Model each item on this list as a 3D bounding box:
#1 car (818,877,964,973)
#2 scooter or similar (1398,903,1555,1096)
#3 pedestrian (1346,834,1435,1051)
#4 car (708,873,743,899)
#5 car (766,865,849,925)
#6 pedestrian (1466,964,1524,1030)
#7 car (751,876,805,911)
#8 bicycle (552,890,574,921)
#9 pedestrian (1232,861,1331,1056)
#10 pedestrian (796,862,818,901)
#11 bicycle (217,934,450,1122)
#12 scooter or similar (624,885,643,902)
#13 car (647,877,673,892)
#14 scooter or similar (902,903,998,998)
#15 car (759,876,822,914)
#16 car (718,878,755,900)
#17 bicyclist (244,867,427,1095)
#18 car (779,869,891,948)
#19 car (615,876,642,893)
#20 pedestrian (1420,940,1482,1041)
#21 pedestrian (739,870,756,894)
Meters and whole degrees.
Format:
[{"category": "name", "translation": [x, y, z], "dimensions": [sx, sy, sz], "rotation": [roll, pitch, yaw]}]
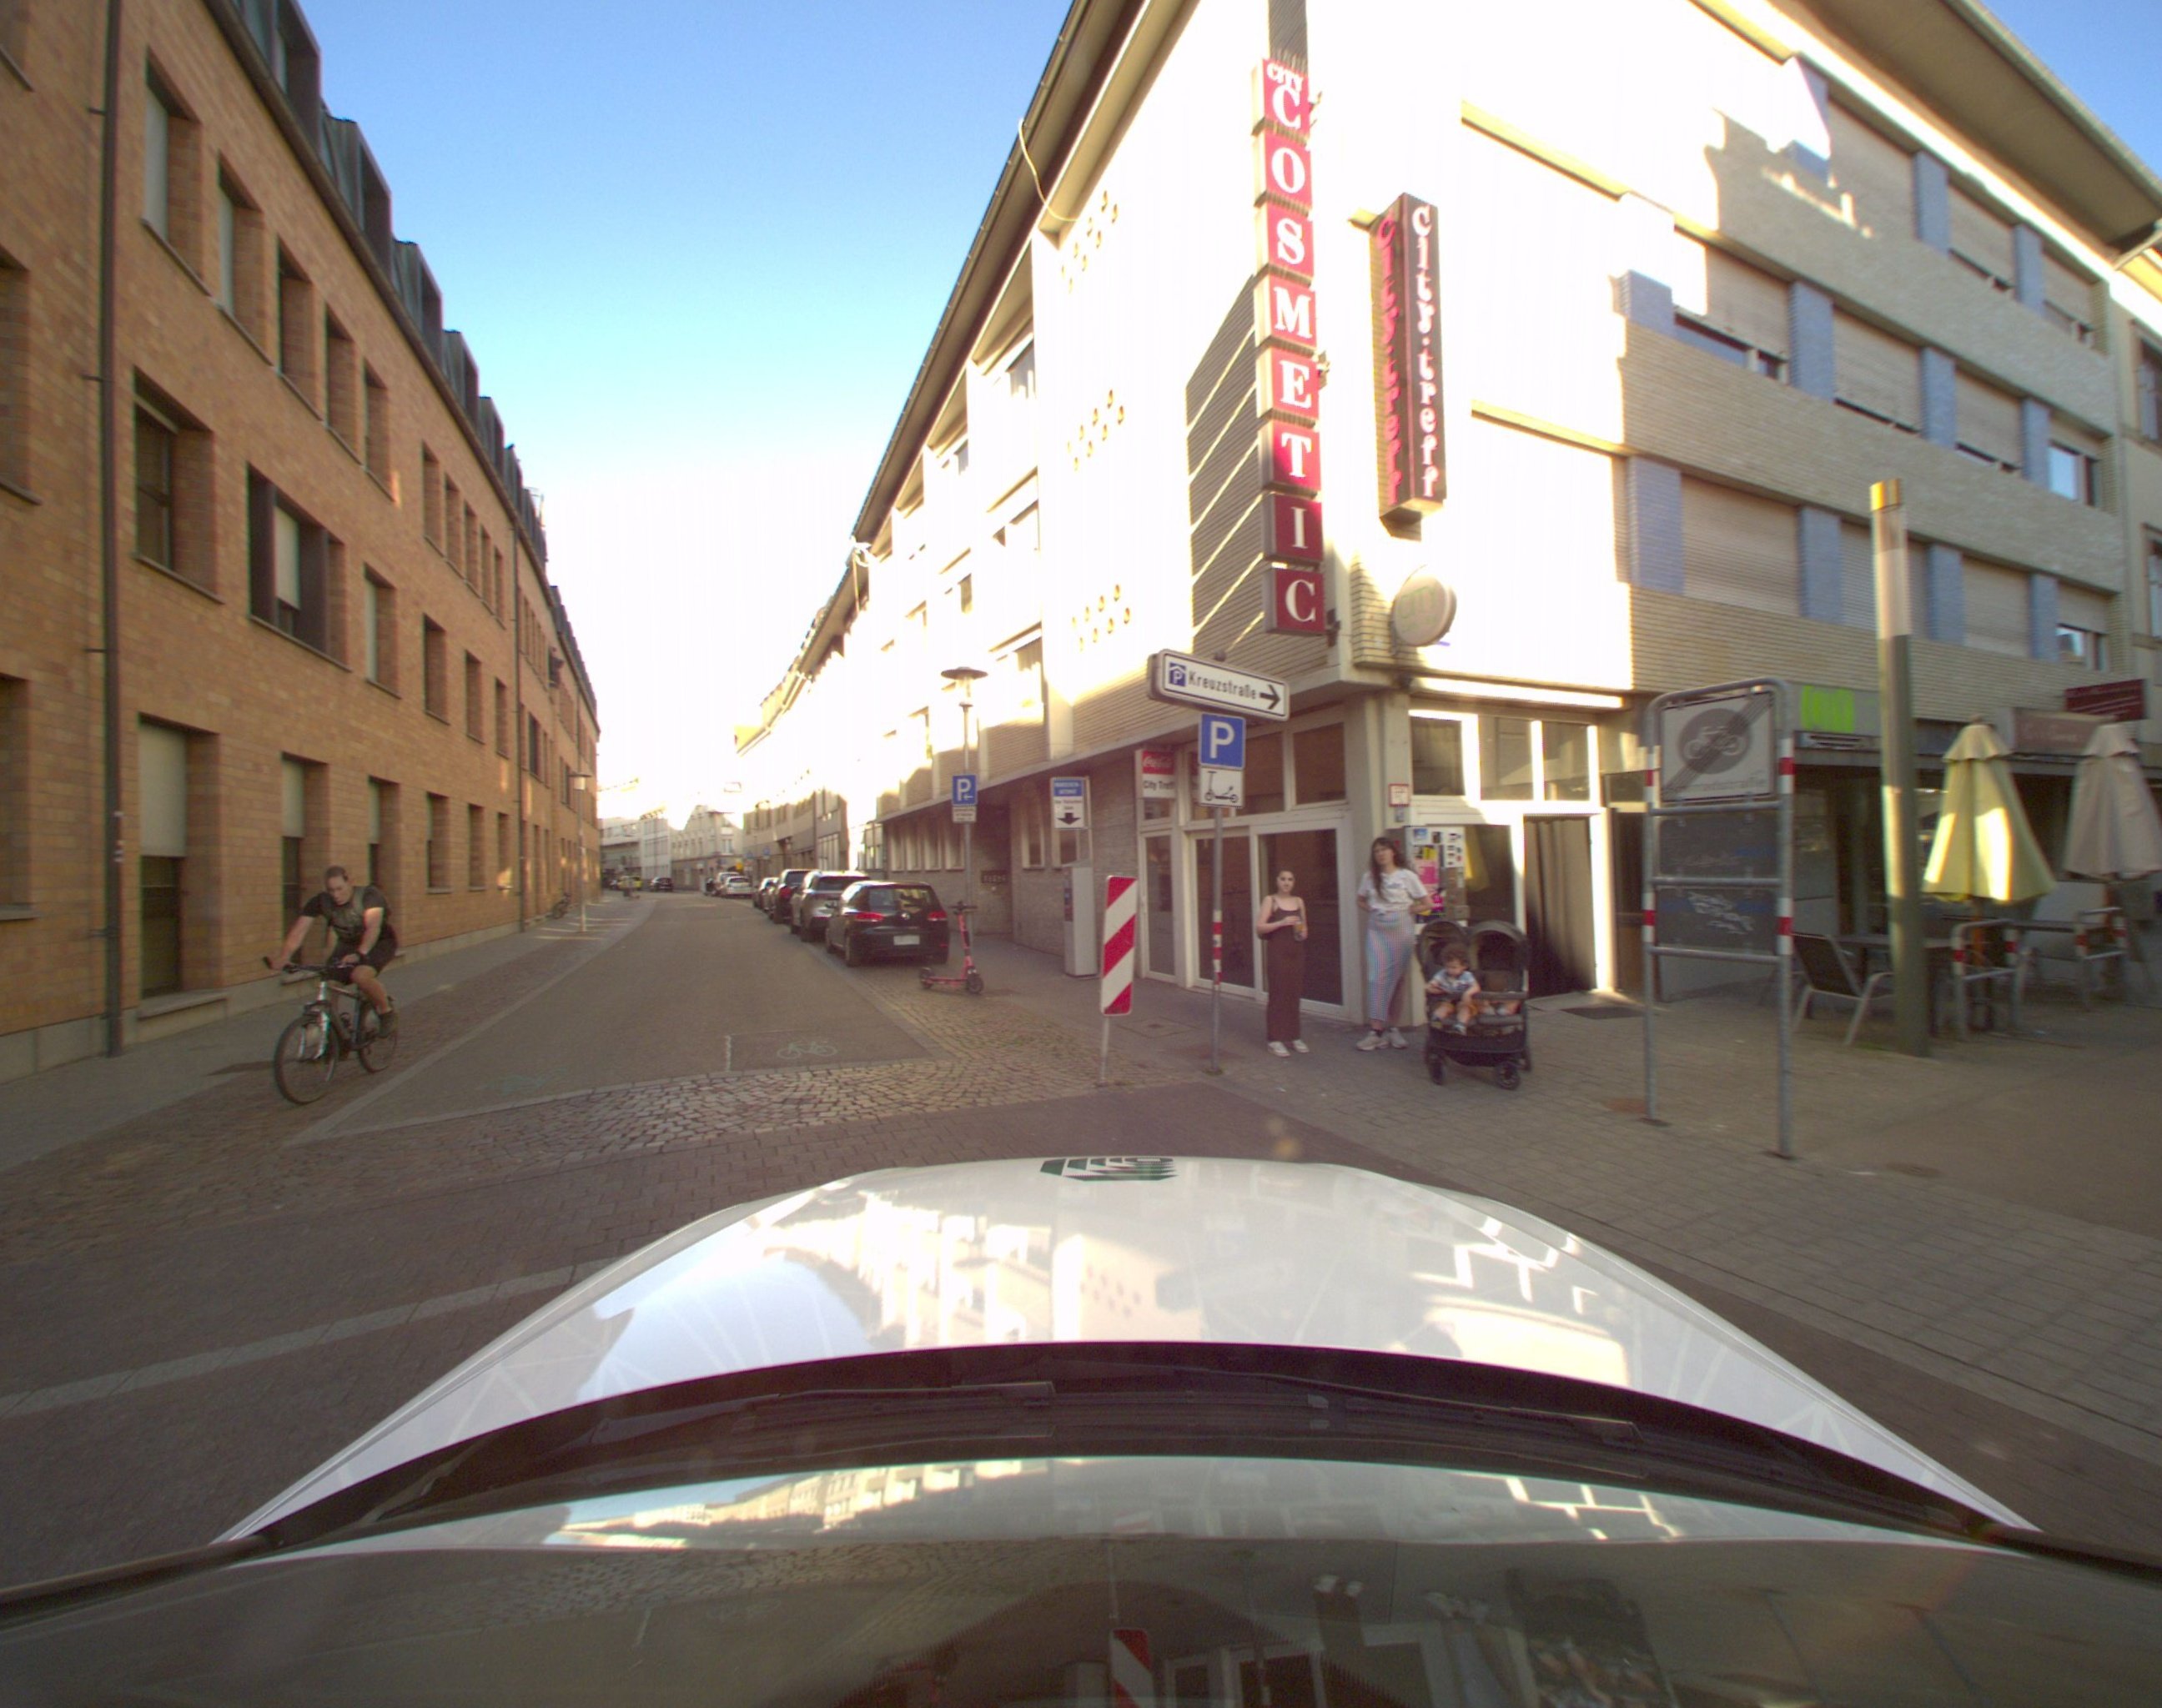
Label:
[{"category": "car", "translation": [-3.747, 1.216, 15.438], "dimensions": [1.831, 1.505, 4.562], "rotation": [2, -2, -24]}, {"category": "scooter or similar", "translation": [2.822, 0.994, 5.936], "dimensions": [0.861, 1.176, 1.050], "rotation": [-2, 1, 18]}, {"category": "pedestrian", "translation": [2.618, 0.721, 6.930], "dimensions": [0.620, 1.736, 0.625], "rotation": [-2, -1, 19]}, {"category": "car", "translation": [-27.044, 2.420, 61.879], "dimensions": [1.842, 1.791, 5.163], "rotation": [0, -2, -30]}, {"category": "car", "translation": [-9.144, 1.280, 26.953], "dimensions": [2.113, 1.786, 5.010], "rotation": [0, -1, -24]}, {"category": "pedestrian", "translation": [2.925, 0.998, 5.748], "dimensions": [0.328, 0.398, 0.314], "rotation": [-2, -1, 31]}, {"category": "car", "translation": [-14.181, 1.786, 37.962], "dimensions": [1.904, 1.453, 5.180], "rotation": [0, -2, -26]}, {"category": "bicycle", "translation": [-20.717, 2.032, 32.560], "dimensions": [0.636, 1.163, 1.784], "rotation": [2, -3, -34]}, {"category": "pedestrian", "translation": [1.686, 0.847, 6.882], "dimensions": [0.573, 1.540, 0.439], "rotation": [-4, 0, -17]}, {"category": "pedestrian", "translation": [-12.479, 1.232, 37.101], "dimensions": [0.793, 1.721, 0.740], "rotation": [-4, 0, -26]}, {"category": "bicycle", "translation": [-6.004, 1.319, 6.687], "dimensions": [0.653, 1.131, 1.725], "rotation": [-5, 0, -17]}, {"category": "scooter or similar", "translation": [-34.308, 3.023, 62.470], "dimensions": [0.696, 1.217, 1.356], "rotation": [-2, -1, -2]}, {"category": "car", "translation": [-47.216, 3.401, 91.317], "dimensions": [1.983, 1.692, 4.054], "rotation": [1, -2, -38]}, {"category": "scooter or similar", "translation": [-1.797, 1.276, 11.100], "dimensions": [1.289, 1.194, 0.497], "rotation": [-2, -1, 37]}, {"category": "car", "translation": [-11.661, 1.572, 32.538], "dimensions": [1.817, 1.413, 4.748], "rotation": [1, -2, -26]}, {"category": "car", "translation": [-23.904, 2.407, 56.477], "dimensions": [1.852, 1.478, 4.127], "rotation": [1, -2, -30]}, {"category": "bicyclist", "translation": [-6.009, 0.962, 6.629], "dimensions": [0.664, 1.642, 0.920], "rotation": [-5, 0, -18]}, {"category": "car", "translation": [-6.226, 1.241, 20.208], "dimensions": [2.003, 1.702, 4.803], "rotation": [1, -2, -25]}, {"category": "car", "translation": [-57.761, 3.905, 103.934], "dimensions": [2.071, 2.014, 4.124], "rotation": [-1, -1, -42]}, {"category": "pedestrian", "translation": [2.670, 0.966, 5.864], "dimensions": [0.328, 0.633, 0.512], "rotation": [-2, -1, 31]}, {"category": "pedestrian", "translation": [-25.846, 2.156, 63.048], "dimensions": [1.048, 1.801, 1.187], "rotation": [-1, -2, -30]}]
